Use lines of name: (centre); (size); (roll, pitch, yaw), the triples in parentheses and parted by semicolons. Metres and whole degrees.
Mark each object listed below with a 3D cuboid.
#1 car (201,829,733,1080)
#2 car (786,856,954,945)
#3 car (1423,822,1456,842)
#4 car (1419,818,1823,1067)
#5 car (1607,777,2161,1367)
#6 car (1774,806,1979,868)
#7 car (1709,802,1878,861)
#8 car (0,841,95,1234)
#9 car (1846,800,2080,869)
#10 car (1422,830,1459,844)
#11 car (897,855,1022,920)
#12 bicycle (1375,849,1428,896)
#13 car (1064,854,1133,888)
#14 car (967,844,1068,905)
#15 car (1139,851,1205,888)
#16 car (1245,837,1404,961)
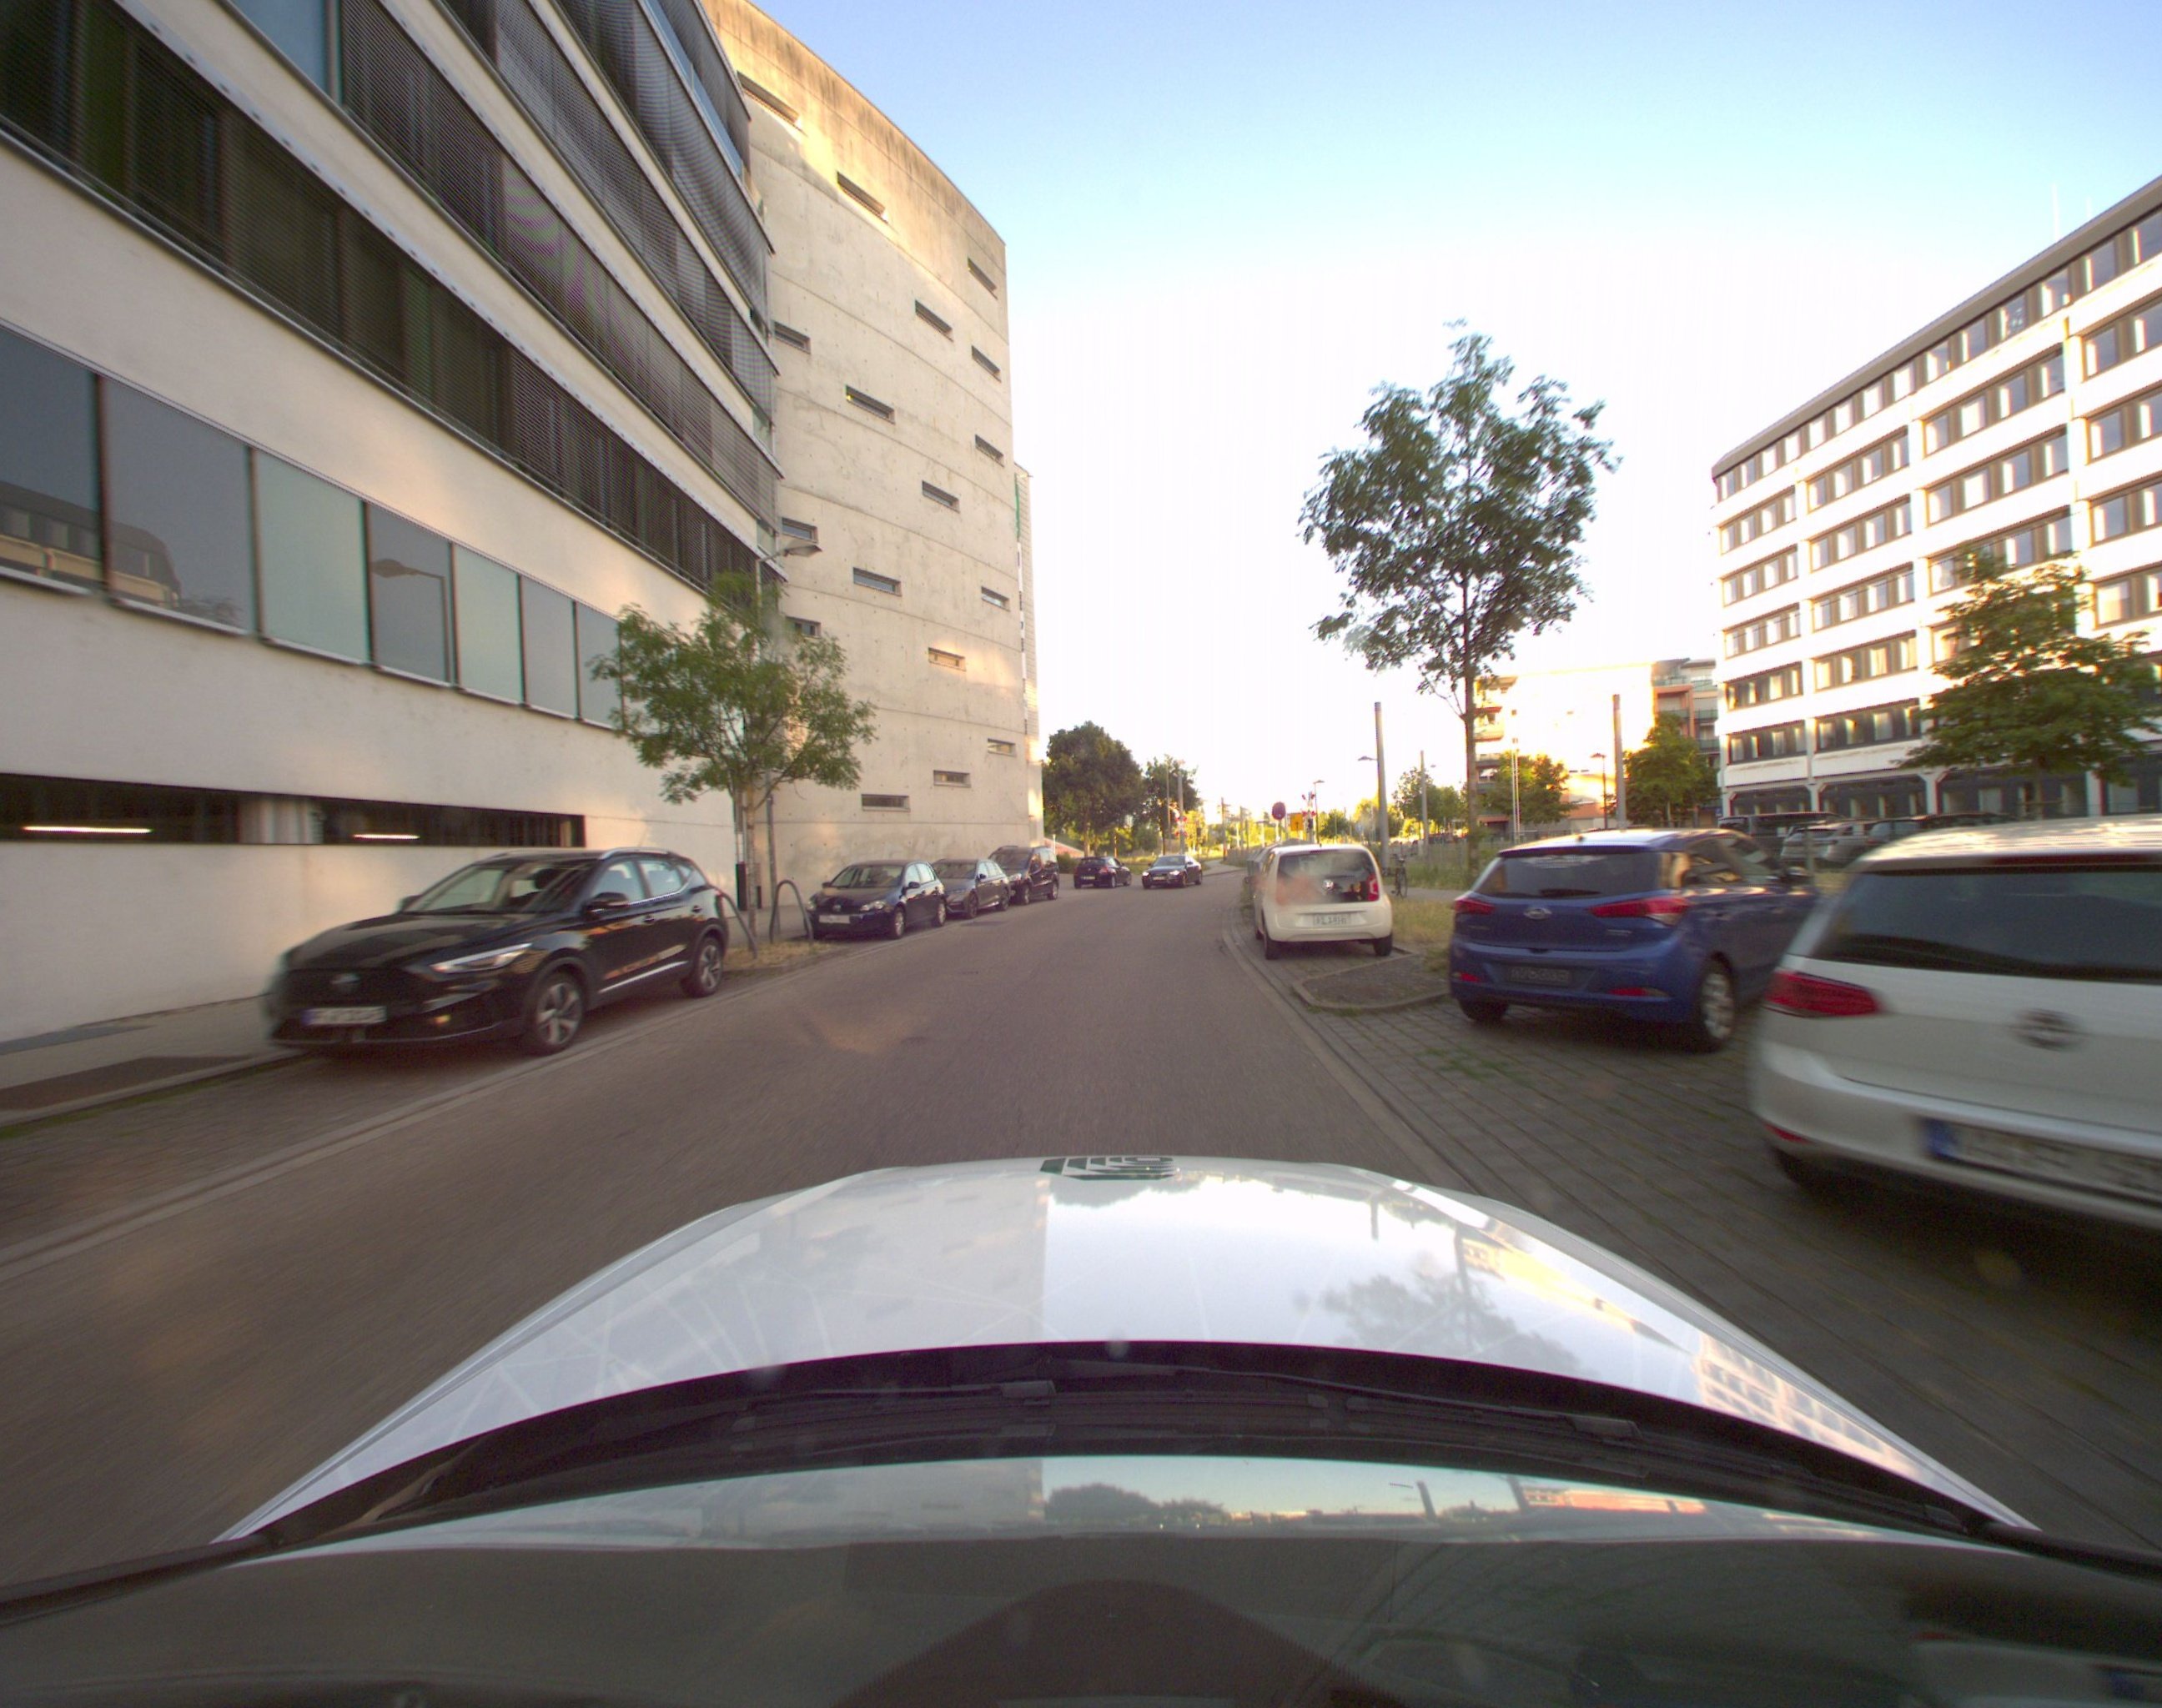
car: (-4.907, 0.636, 7.369); (1.750, 1.653, 3.949); (0, 1, 1)
car: (-3.981, 0.799, 16.177); (1.713, 1.457, 4.281); (0, 1, 8)
car: (49.993, -3.055, 113.540); (4.116, 2.584, 1.713); (-2, 0, 23)
car: (4.600, 0.497, 6.753); (3.772, 1.509, 1.669); (-1, 1, -38)
car: (4.319, 0.455, 3.343); (3.944, 1.509, 1.938); (-4, 1, -29)
car: (23.928, -0.498, 24.608); (4.480, 1.602, 1.694); (-2, 0, 1)
car: (26.448, -0.823, 30.361); (4.477, 1.936, 1.933); (-2, 0, 2)
car: (-5.230, 0.760, 1.523); (1.749, 1.561, 4.045); (0, 1, 2)
car: (23.868, -0.511, 22.158); (4.480, 1.602, 1.694); (-2, 0, 1)
car: (45.507, -2.191, 103.147); (4.115, 1.576, 1.713); (-2, 0, 26)
car: (-3.029, 0.781, 21.417); (1.711, 1.457, 4.709); (0, 1, 12)
bicycle: (7.957, 0.435, 20.293); (0.760, 1.082, 1.692); (-2, 0, 5)
car: (0.889, 0.726, 36.805); (1.928, 1.382, 4.420); (0, 1, 18)
car: (-1.936, 0.581, 26.480); (1.743, 1.798, 4.483); (0, 1, 17)
car: (4.026, 0.628, 35.494); (1.763, 1.422, 4.539); (-2, 0, 20)
car: (3.354, 0.539, 11.818); (1.712, 1.467, 3.562); (-3, 0, 9)
